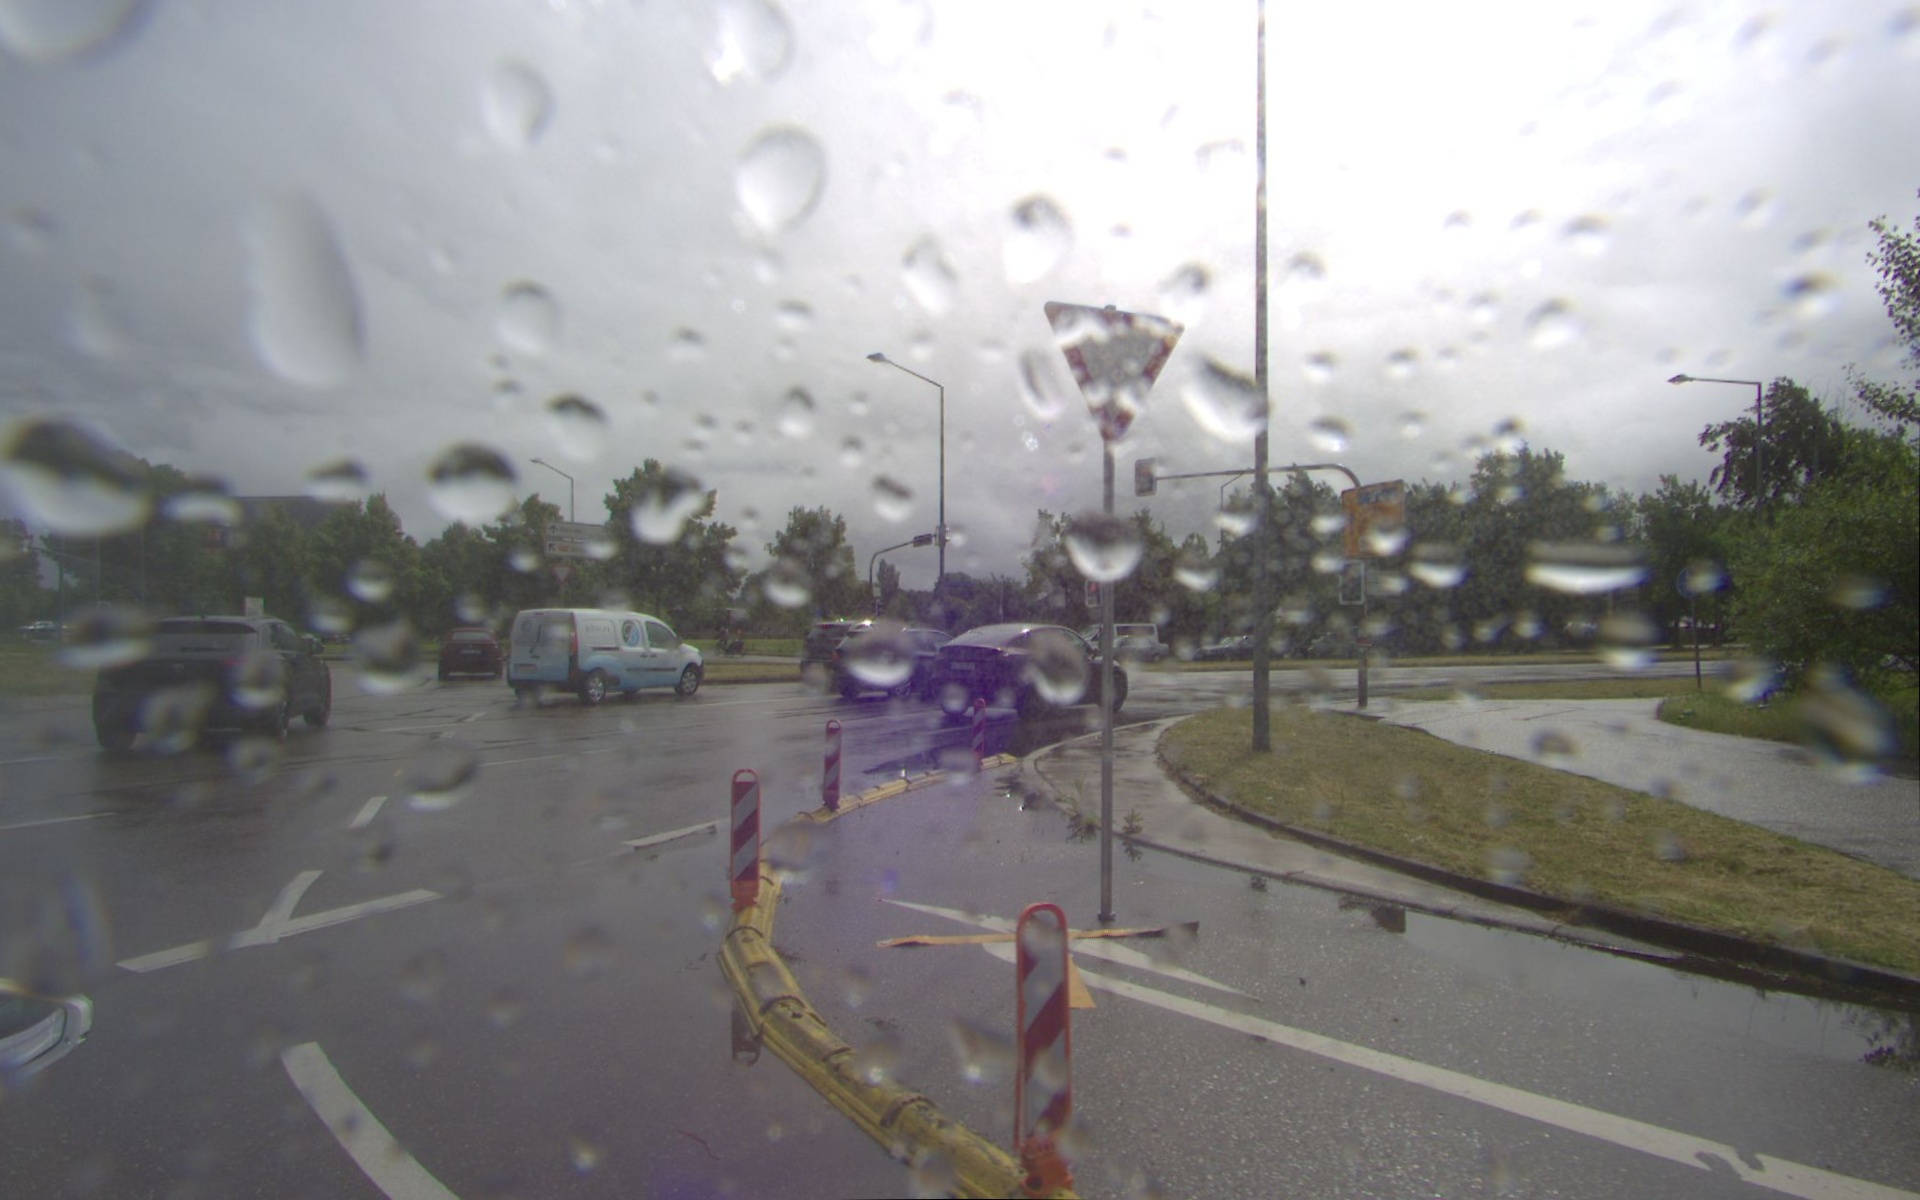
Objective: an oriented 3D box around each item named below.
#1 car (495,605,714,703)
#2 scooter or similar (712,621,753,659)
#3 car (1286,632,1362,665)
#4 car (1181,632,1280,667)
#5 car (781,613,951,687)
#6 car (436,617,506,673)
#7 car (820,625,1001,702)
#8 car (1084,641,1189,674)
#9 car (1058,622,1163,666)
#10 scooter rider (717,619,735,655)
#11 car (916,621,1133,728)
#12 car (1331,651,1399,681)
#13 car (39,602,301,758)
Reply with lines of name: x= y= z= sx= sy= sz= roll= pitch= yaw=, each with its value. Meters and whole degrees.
car: x=-7.184 y=1.061 z=20.794 sx=1.834 sy=1.785 sz=4.544 roll=0 pitch=-1 yaw=19
scooter or similar: x=-12.913 y=2.293 z=56.810 sx=1.223 sy=2.038 sz=3.392 roll=2 pitch=-4 yaw=-31
car: x=18.475 y=2.460 z=50.807 sx=3.546 sy=1.602 sz=1.562 roll=2 pitch=-1 yaw=-25
car: x=12.969 y=2.355 z=47.966 sx=4.418 sy=1.556 sz=1.860 roll=0 pitch=-1 yaw=-26
car: x=-2.429 y=1.254 z=26.602 sx=2.019 sy=1.780 sz=4.287 roll=0 pitch=-1 yaw=42
car: x=-14.173 y=1.264 z=29.160 sx=1.693 sy=1.481 sz=3.985 roll=1 pitch=-1 yaw=-25
car: x=-1.021 y=1.352 z=22.342 sx=1.790 sy=1.548 sz=3.968 roll=0 pitch=-2 yaw=41
car: x=8.078 y=2.610 z=45.742 sx=4.481 sy=1.398 sz=1.860 roll=2 pitch=-1 yaw=-25
car: x=7.329 y=2.138 z=48.792 sx=4.727 sy=2.013 sz=2.070 roll=2 pitch=-1 yaw=-26
scooter rider: x=-13.323 y=2.110 z=57.096 sx=0.698 sy=2.038 sz=0.764 roll=3 pitch=-4 yaw=-39
car: x=1.312 y=1.237 z=18.256 sx=1.850 sy=1.679 sz=4.471 roll=0 pitch=-1 yaw=36
car: x=22.662 y=3.677 z=55.976 sx=3.485 sy=1.530 sz=1.625 roll=1 pitch=-1 yaw=-26
car: x=-9.776 y=0.884 z=12.753 sx=1.875 sy=1.638 sz=3.983 roll=0 pitch=-1 yaw=-27
